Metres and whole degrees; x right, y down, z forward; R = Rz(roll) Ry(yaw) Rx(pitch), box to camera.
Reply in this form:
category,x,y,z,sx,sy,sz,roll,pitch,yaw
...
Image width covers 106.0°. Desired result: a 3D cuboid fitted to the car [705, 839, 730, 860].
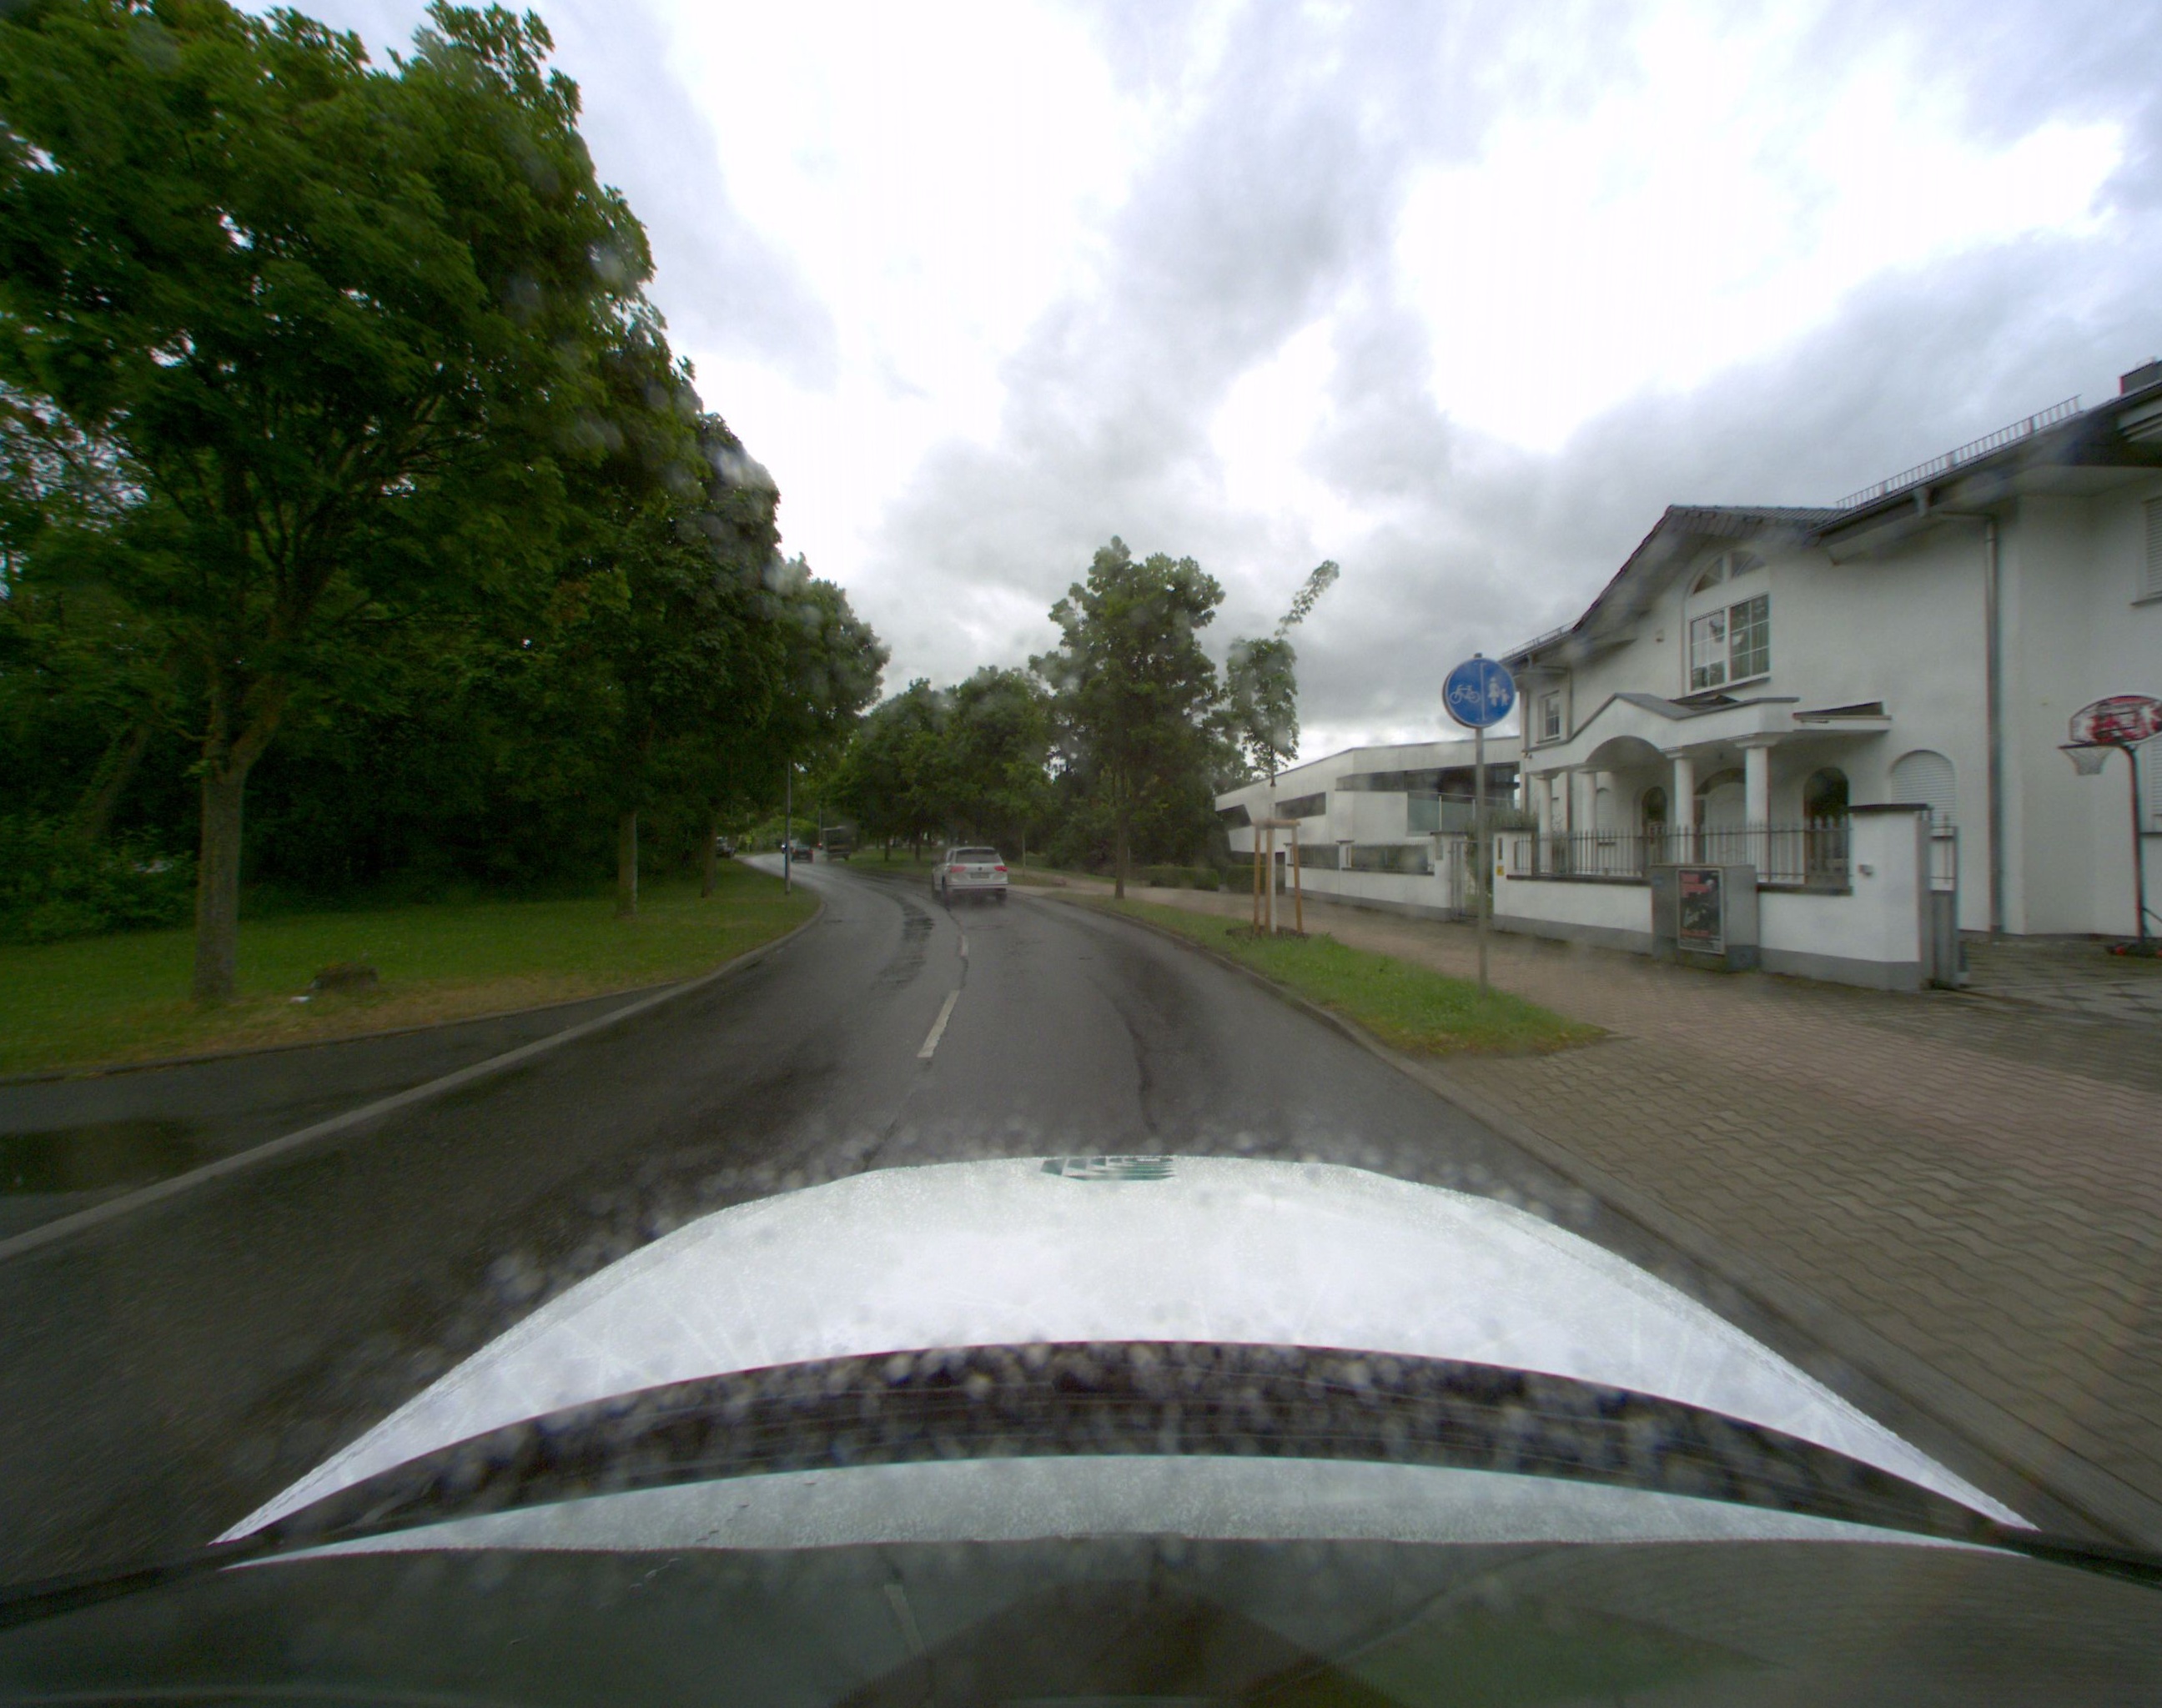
category,x,y,z,sx,sy,sz,roll,pitch,yaw
car,-30.570,-0.385,68.479,1.758,1.640,4.555,2,-1,-24

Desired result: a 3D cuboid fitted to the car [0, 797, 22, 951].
category,x,y,z,sx,sy,sz,roll,pitch,yaw
car,-14.830,0.399,7.855,2.123,1.986,5.469,-1,3,-4

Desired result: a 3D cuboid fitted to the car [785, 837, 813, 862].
category,x,y,z,sx,sy,sz,roll,pitch,yaw
car,-24.330,-0.378,70.213,1.910,2.014,3.912,2,-1,-25

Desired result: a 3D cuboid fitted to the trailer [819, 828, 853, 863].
category,x,y,z,sx,sy,sz,roll,pitch,yaw
trailer,-21.111,-0.763,69.932,2.002,2.807,5.566,-5,3,-23

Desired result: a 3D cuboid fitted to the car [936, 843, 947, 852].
category,x,y,z,sx,sy,sz,roll,pitch,yaw
car,-30.313,-1.491,177.033,1.991,1.807,3.992,2,-1,-6

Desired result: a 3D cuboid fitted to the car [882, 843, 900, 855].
category,x,y,z,sx,sy,sz,roll,pitch,yaw
car,-31.689,-0.801,136.016,1.988,1.804,3.997,2,-1,-2

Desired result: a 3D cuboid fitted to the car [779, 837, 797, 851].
category,x,y,z,sx,sy,sz,roll,pitch,yaw
car,-34.287,-1.160,95.314,1.796,1.537,4.063,3,1,-22

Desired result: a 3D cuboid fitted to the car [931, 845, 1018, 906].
category,x,y,z,sx,sy,sz,roll,pitch,yaw
car,-3.338,0.588,24.771,1.979,1.653,4.153,-1,0,-17
